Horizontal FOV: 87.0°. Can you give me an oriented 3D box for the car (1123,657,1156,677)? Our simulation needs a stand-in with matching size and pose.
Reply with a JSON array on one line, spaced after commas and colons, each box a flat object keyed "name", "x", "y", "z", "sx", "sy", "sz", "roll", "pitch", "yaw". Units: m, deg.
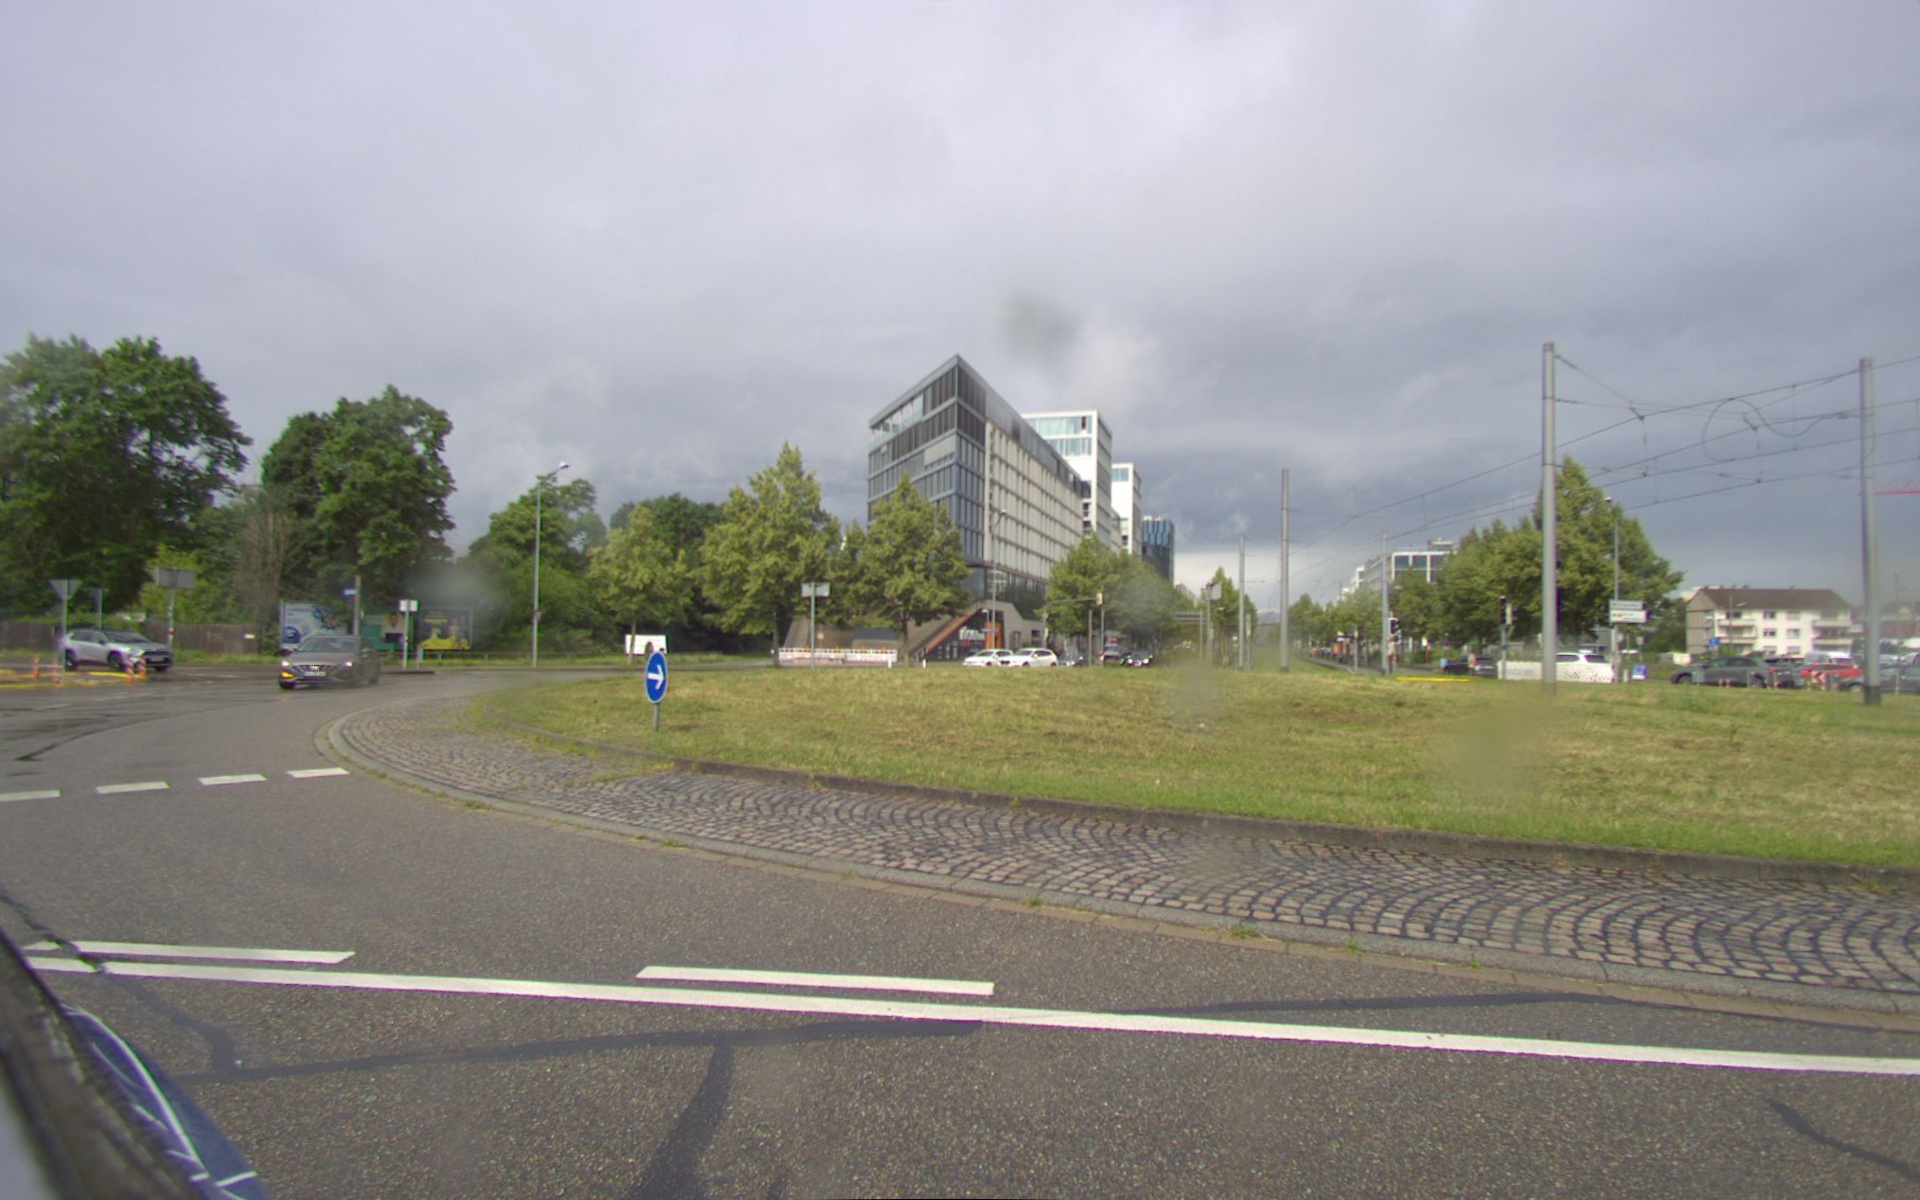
[{"name": "car", "x": 13.666, "y": 5.073, "z": 76.908, "sx": 1.715, "sy": 1.519, "sz": 3.876, "roll": -1, "pitch": -3, "yaw": 21}]

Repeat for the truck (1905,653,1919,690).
[{"name": "truck", "x": 59.784, "y": 4.423, "z": 61.007, "sx": 2.384, "sy": 2.228, "sz": 6.048, "roll": 0, "pitch": -1, "yaw": 26}]

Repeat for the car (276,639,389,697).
[{"name": "car", "x": -17.085, "y": 1.802, "z": 27.763, "sx": 1.705, "sy": 1.424, "sz": 4.140, "roll": 0, "pitch": -2, "yaw": -18}]

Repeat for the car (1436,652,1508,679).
[{"name": "car", "x": 30.214, "y": 3.862, "z": 59.873, "sx": 1.774, "sy": 1.529, "sz": 4.006, "roll": 1, "pitch": -3, "yaw": -8}]

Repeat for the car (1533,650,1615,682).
[{"name": "car", "x": 31.060, "y": 3.329, "z": 51.267, "sx": 1.475, "sy": 1.522, "sz": 3.509, "roll": 1, "pitch": -2, "yaw": -13}]

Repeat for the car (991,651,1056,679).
[{"name": "car", "x": 3.712, "y": 3.742, "z": 58.532, "sx": 1.727, "sy": 1.519, "sz": 3.849, "roll": -2, "pitch": -4, "yaw": 43}]

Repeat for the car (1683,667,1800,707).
[{"name": "car", "x": 33.799, "y": 3.726, "z": 43.868, "sx": 1.547, "sy": 1.572, "sz": 3.689, "roll": 1, "pitch": -3, "yaw": -27}]

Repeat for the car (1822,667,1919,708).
[{"name": "car", "x": 39.317, "y": 3.699, "z": 42.963, "sx": 4.001, "sy": 1.597, "sz": 1.772, "roll": -2, "pitch": -3, "yaw": 44}]

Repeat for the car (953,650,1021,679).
[{"name": "car", "x": 1.729, "y": 3.993, "z": 62.593, "sx": 1.865, "sy": 1.685, "sz": 4.410, "roll": -3, "pitch": -6, "yaw": 40}]

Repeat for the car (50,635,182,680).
[{"name": "car", "x": -33.041, "y": 2.225, "z": 39.642, "sx": 4.444, "sy": 1.676, "sz": 1.865, "roll": 0, "pitch": -2, "yaw": 17}]

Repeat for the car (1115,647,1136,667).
[{"name": "car", "x": 20.237, "y": 7.001, "z": 123.495, "sx": 1.852, "sy": 2.378, "sz": 4.443, "roll": -1, "pitch": -5, "yaw": 18}]

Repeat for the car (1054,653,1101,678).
[{"name": "car", "x": 8.206, "y": 4.588, "z": 70.365, "sx": 1.857, "sy": 1.685, "sz": 4.430, "roll": -1, "pitch": -5, "yaw": 26}]
